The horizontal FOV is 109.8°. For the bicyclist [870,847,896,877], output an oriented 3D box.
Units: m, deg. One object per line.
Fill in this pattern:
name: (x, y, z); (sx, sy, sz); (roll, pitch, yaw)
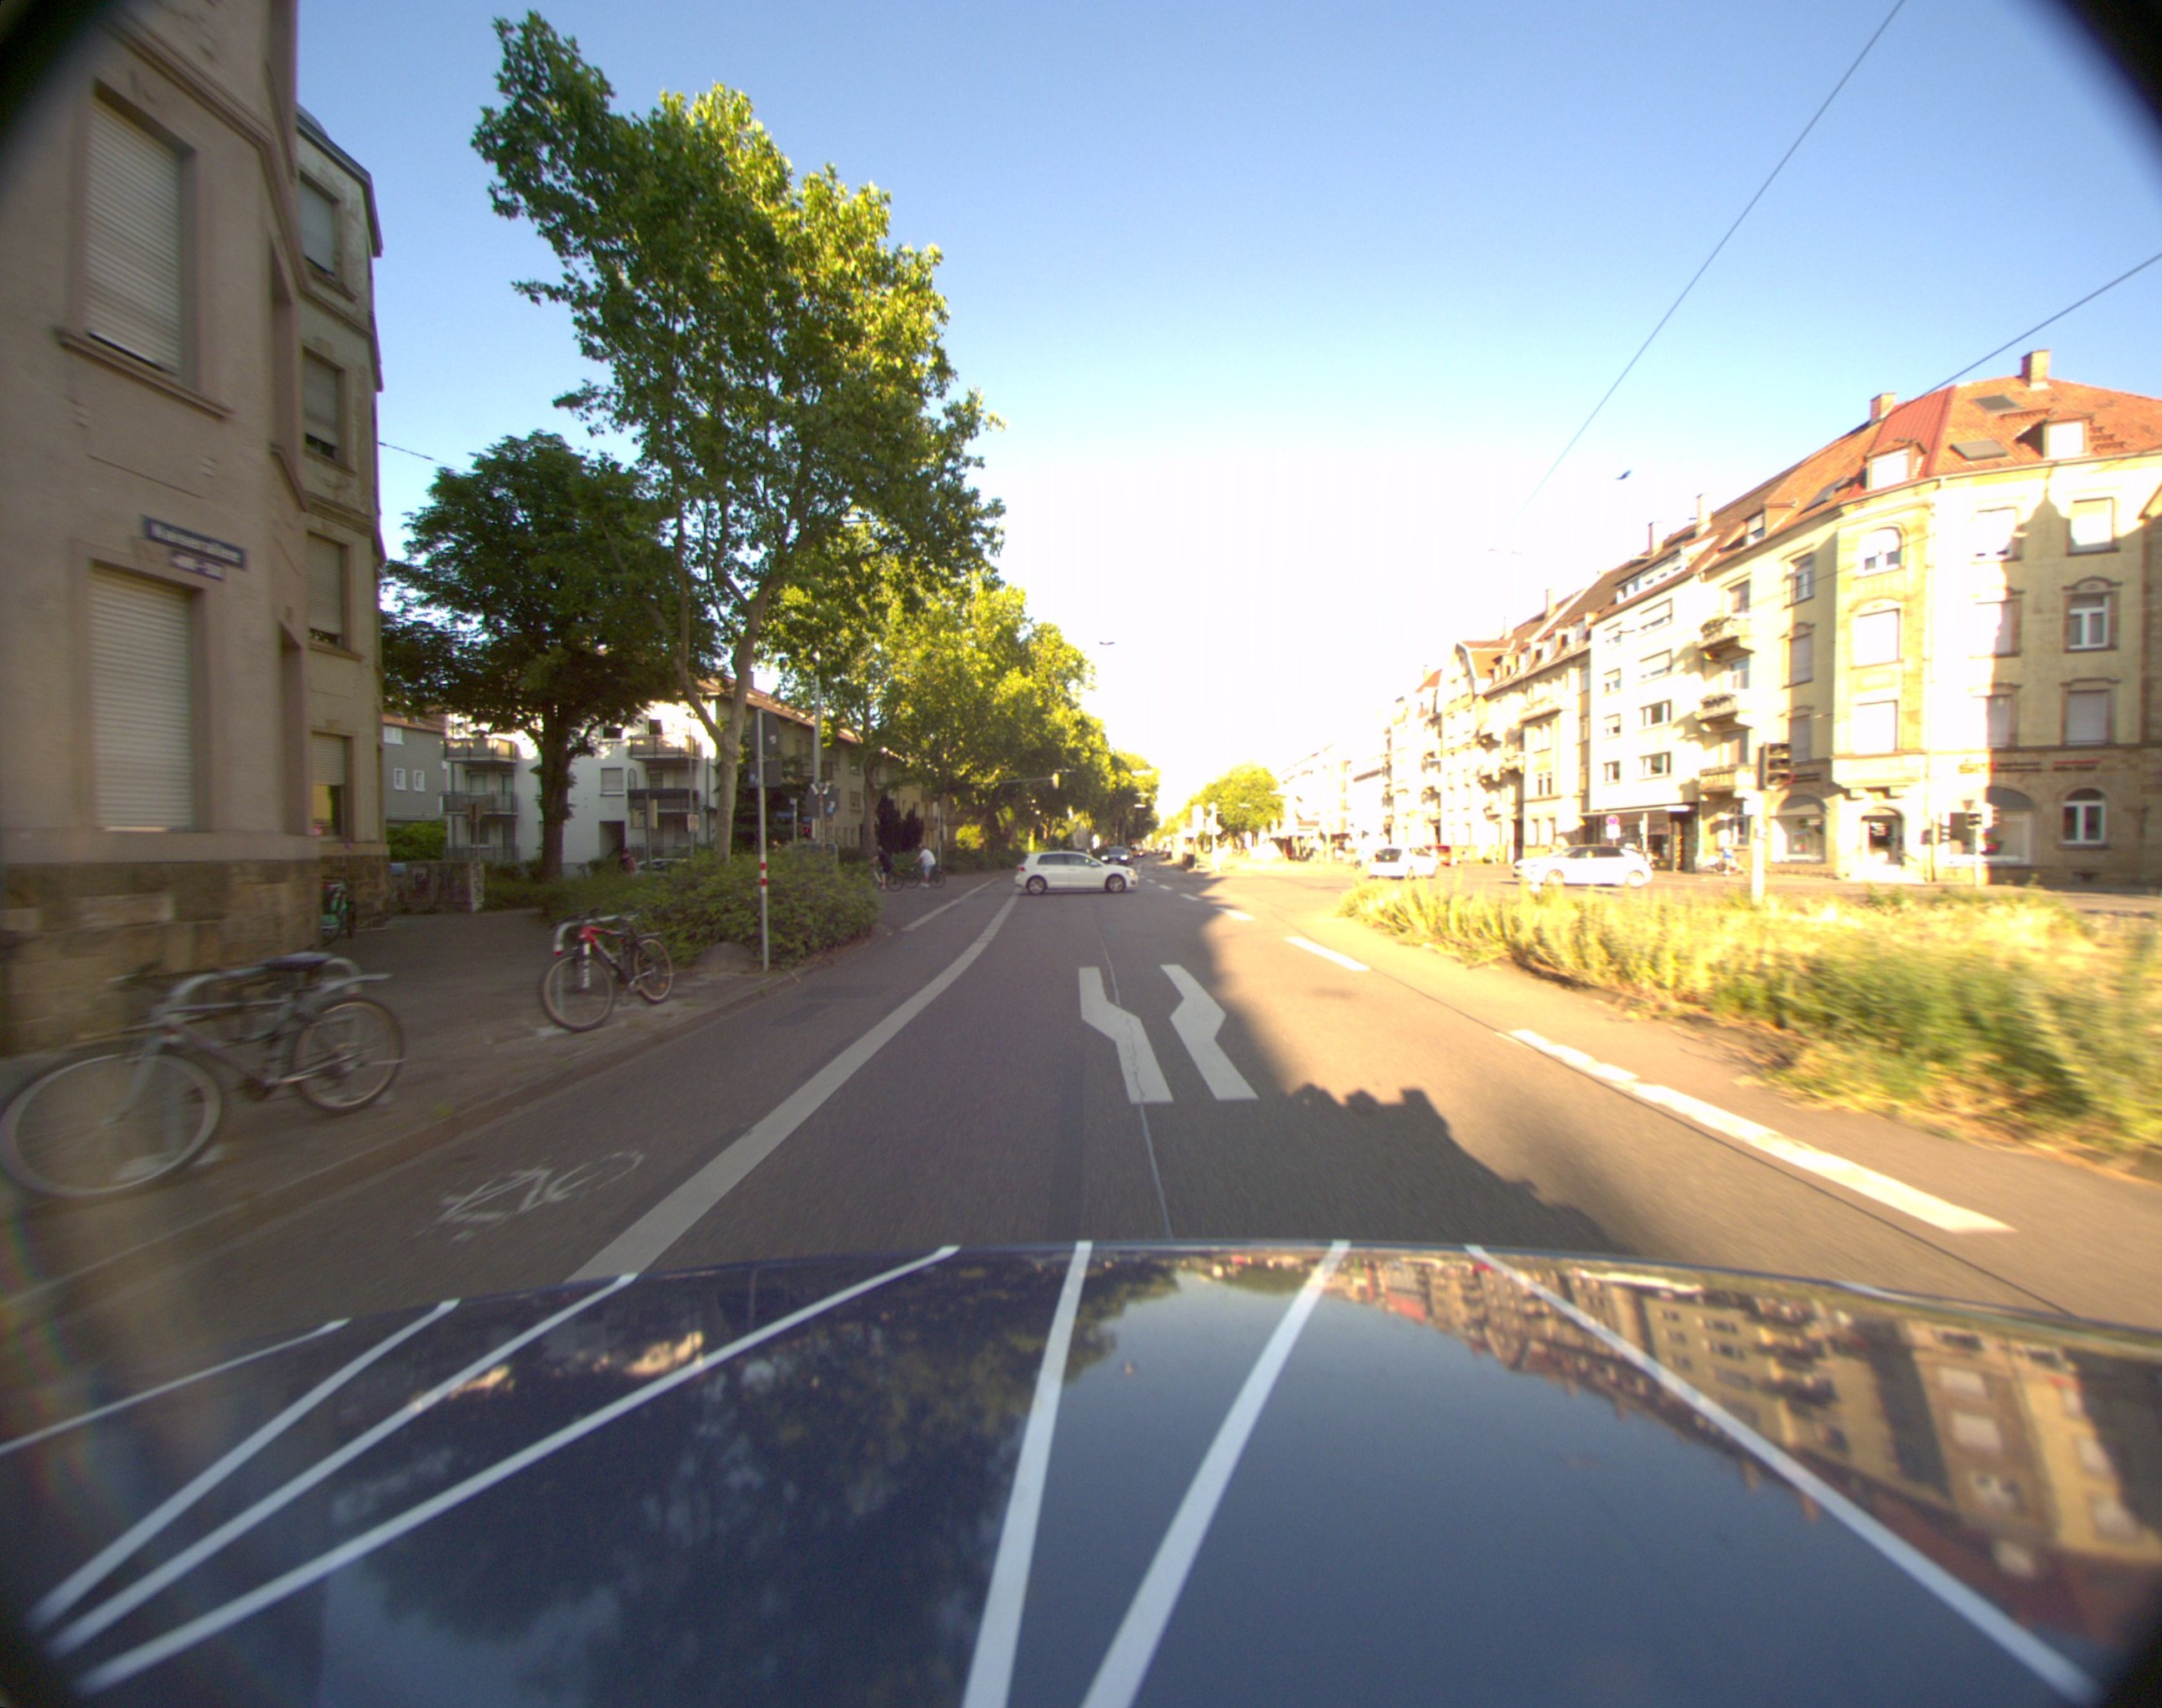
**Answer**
bicyclist: (-7.738, 0.289, 29.714); (0.766, 1.151, 0.612); (0, 2, 8)

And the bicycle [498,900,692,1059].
bicycle: (-4.126, 1.000, 6.639); (0.370, 1.062, 1.874); (0, 1, 4)

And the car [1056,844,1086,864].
car: (-0.823, -0.017, 64.894); (1.877, 1.587, 4.002); (0, 1, 8)

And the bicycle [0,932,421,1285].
bicycle: (-4.167, 1.022, 3.563); (0.438, 1.092, 1.932); (0, 1, 0)

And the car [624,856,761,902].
car: (-13.744, 0.842, 26.976); (4.050, 1.517, 1.783); (0, 2, 10)

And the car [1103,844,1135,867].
car: (2.756, 0.104, 54.509); (1.877, 1.587, 4.002); (0, 1, 8)

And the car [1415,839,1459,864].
car: (29.042, -0.253, 62.080); (1.918, 1.889, 4.310); (0, 2, 6)

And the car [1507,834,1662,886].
car: (17.070, 0.185, 25.950); (3.995, 1.696, 1.836); (0, 2, 7)

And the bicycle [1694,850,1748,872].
bicycle: (32.124, 0.329, 38.185); (0.667, 1.050, 2.503); (0, 1, 1)

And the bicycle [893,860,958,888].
bicycle: (-6.485, 0.826, 31.779); (2.549, 1.099, 0.653); (-1, 2, 8)

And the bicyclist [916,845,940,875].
bicyclist: (-6.392, 0.227, 31.770); (0.766, 1.229, 0.661); (0, 2, 8)

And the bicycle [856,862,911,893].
bicycle: (-7.701, 0.910, 29.717); (1.922, 1.099, 0.653); (-2, 2, 8)

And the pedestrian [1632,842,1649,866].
pedestrian: (32.153, -0.020, 43.658); (0.553, 1.355, 0.555); (-1, 1, 4)

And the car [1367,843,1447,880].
car: (13.764, 0.268, 32.009); (3.822, 1.471, 1.732); (-1, 1, -44)

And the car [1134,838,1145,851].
car: (10.329, -1.663, 134.430); (1.877, 2.279, 4.001); (0, 1, 4)

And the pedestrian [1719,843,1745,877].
pedestrian: (31.454, 0.268, 36.715); (0.630, 1.631, 0.770); (0, 1, 3)

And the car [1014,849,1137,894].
car: (-0.195, 0.586, 26.243); (4.108, 1.442, 1.843); (0, 2, -2)

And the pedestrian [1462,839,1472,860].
pedestrian: (33.579, -0.379, 66.061); (0.640, 1.827, 0.477); (0, 2, 7)

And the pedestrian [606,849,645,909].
pedestrian: (-14.040, 0.753, 23.434); (0.665, 1.796, 0.703); (0, 2, 12)
